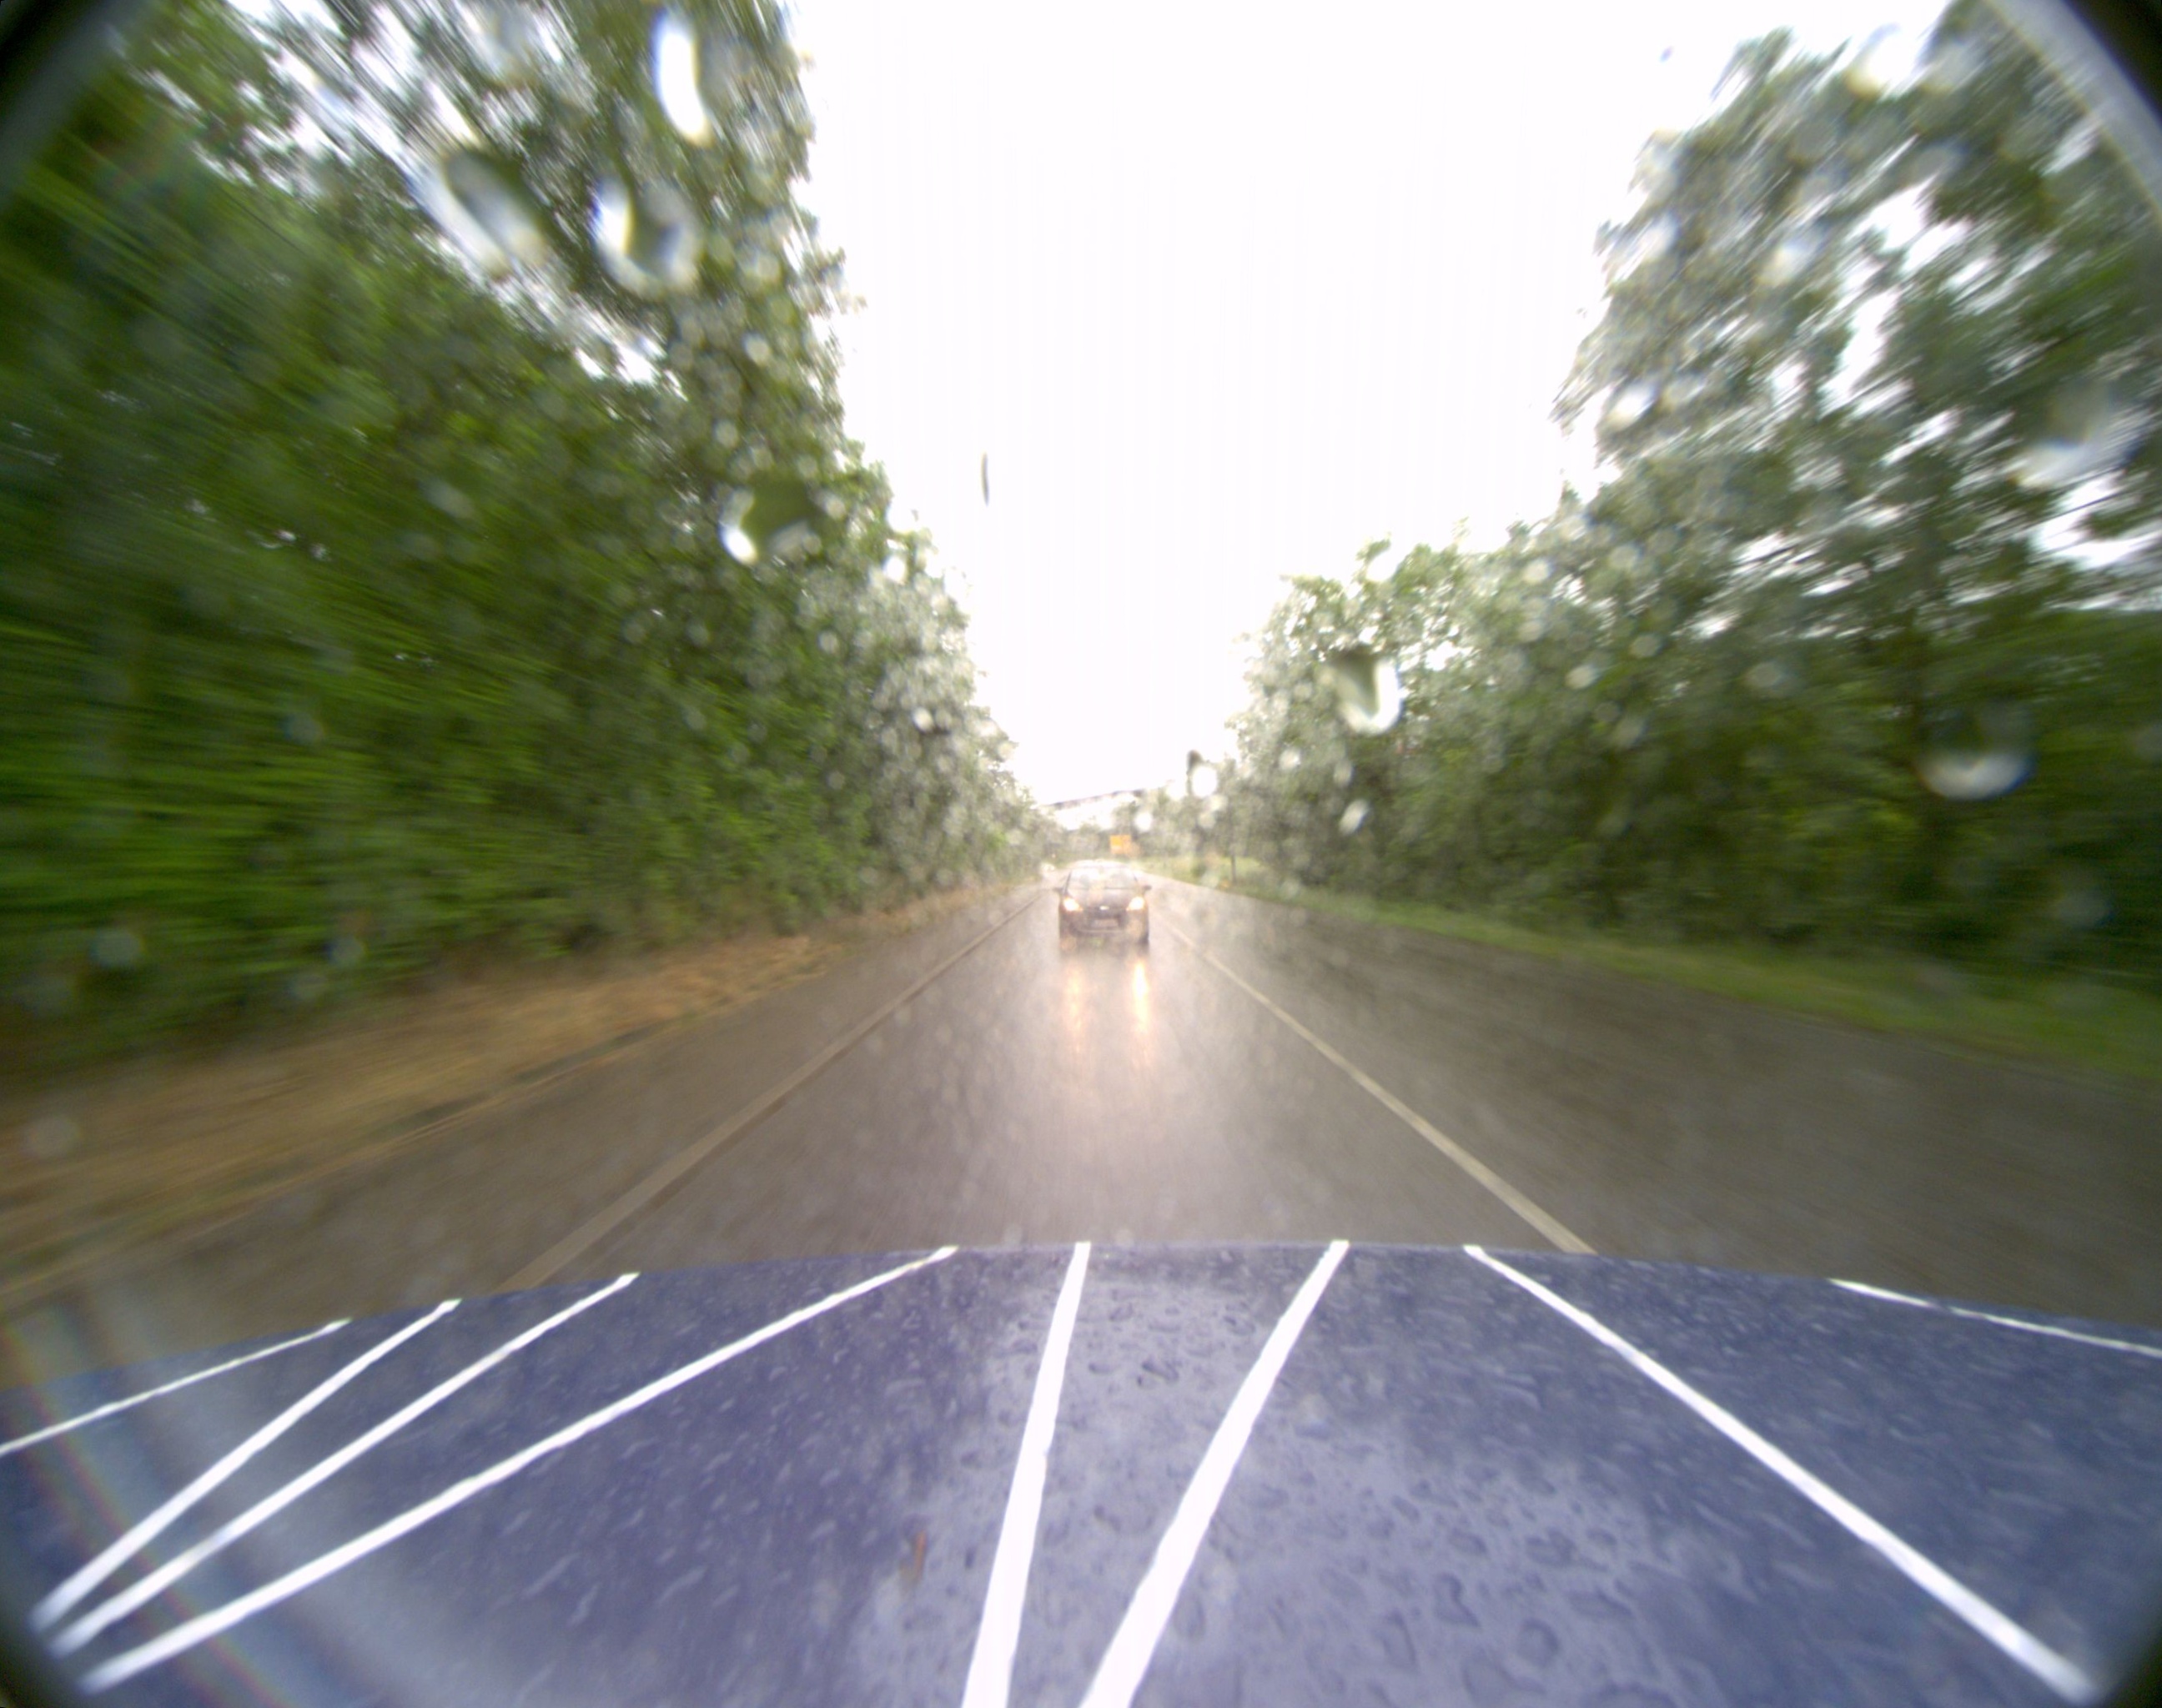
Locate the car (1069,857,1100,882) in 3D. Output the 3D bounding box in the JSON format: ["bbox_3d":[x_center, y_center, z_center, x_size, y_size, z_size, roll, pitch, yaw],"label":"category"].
[{"bbox_3d":[0.211,0.998,49.625,1.874,1.432,4.377,-3,0,-1],"label":"car"}]

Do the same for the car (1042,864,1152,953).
[{"bbox_3d":[0.237,0.984,15.495,1.874,1.432,4.377,-3,0,-1],"label":"car"}]

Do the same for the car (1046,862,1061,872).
[{"bbox_3d":[-4.354,2.043,120.402,1.954,1.433,4.375,-5,1,-6],"label":"car"}]

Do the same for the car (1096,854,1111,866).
[{"bbox_3d":[2.978,0.837,101.901,1.643,1.480,3.453,-2,0,-3],"label":"car"}]
